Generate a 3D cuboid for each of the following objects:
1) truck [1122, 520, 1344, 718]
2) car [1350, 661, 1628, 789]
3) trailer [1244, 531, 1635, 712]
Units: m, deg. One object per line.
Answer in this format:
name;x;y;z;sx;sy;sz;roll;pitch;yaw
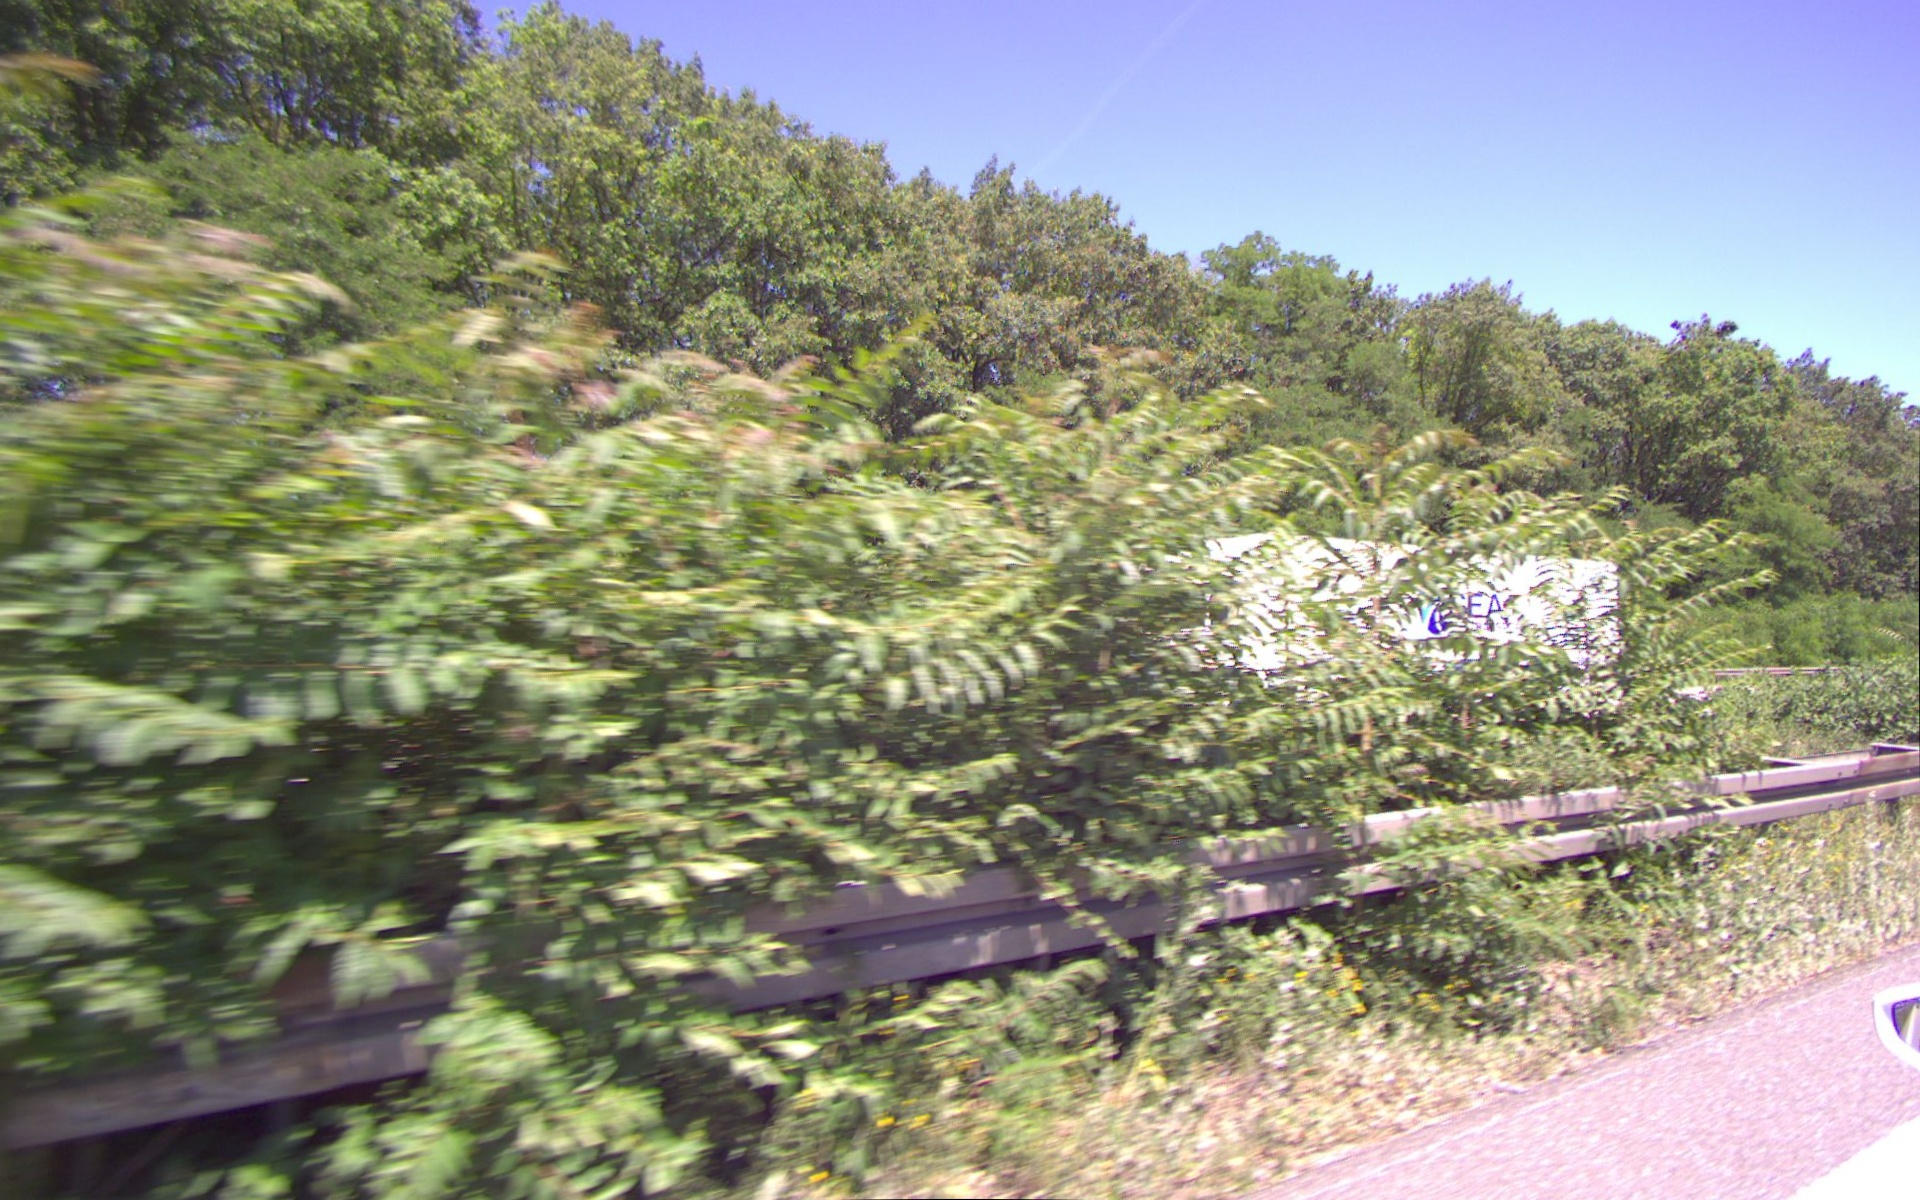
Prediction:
truck;6.223;0.505;23.012;4.135;4.087;2.822;2;-3;-30
car;7.722;1.700;14.598;3.953;1.531;1.761;2;-1;-30
trailer;13.346;0.704;27.177;12.761;4.087;2.821;2;-3;-30
